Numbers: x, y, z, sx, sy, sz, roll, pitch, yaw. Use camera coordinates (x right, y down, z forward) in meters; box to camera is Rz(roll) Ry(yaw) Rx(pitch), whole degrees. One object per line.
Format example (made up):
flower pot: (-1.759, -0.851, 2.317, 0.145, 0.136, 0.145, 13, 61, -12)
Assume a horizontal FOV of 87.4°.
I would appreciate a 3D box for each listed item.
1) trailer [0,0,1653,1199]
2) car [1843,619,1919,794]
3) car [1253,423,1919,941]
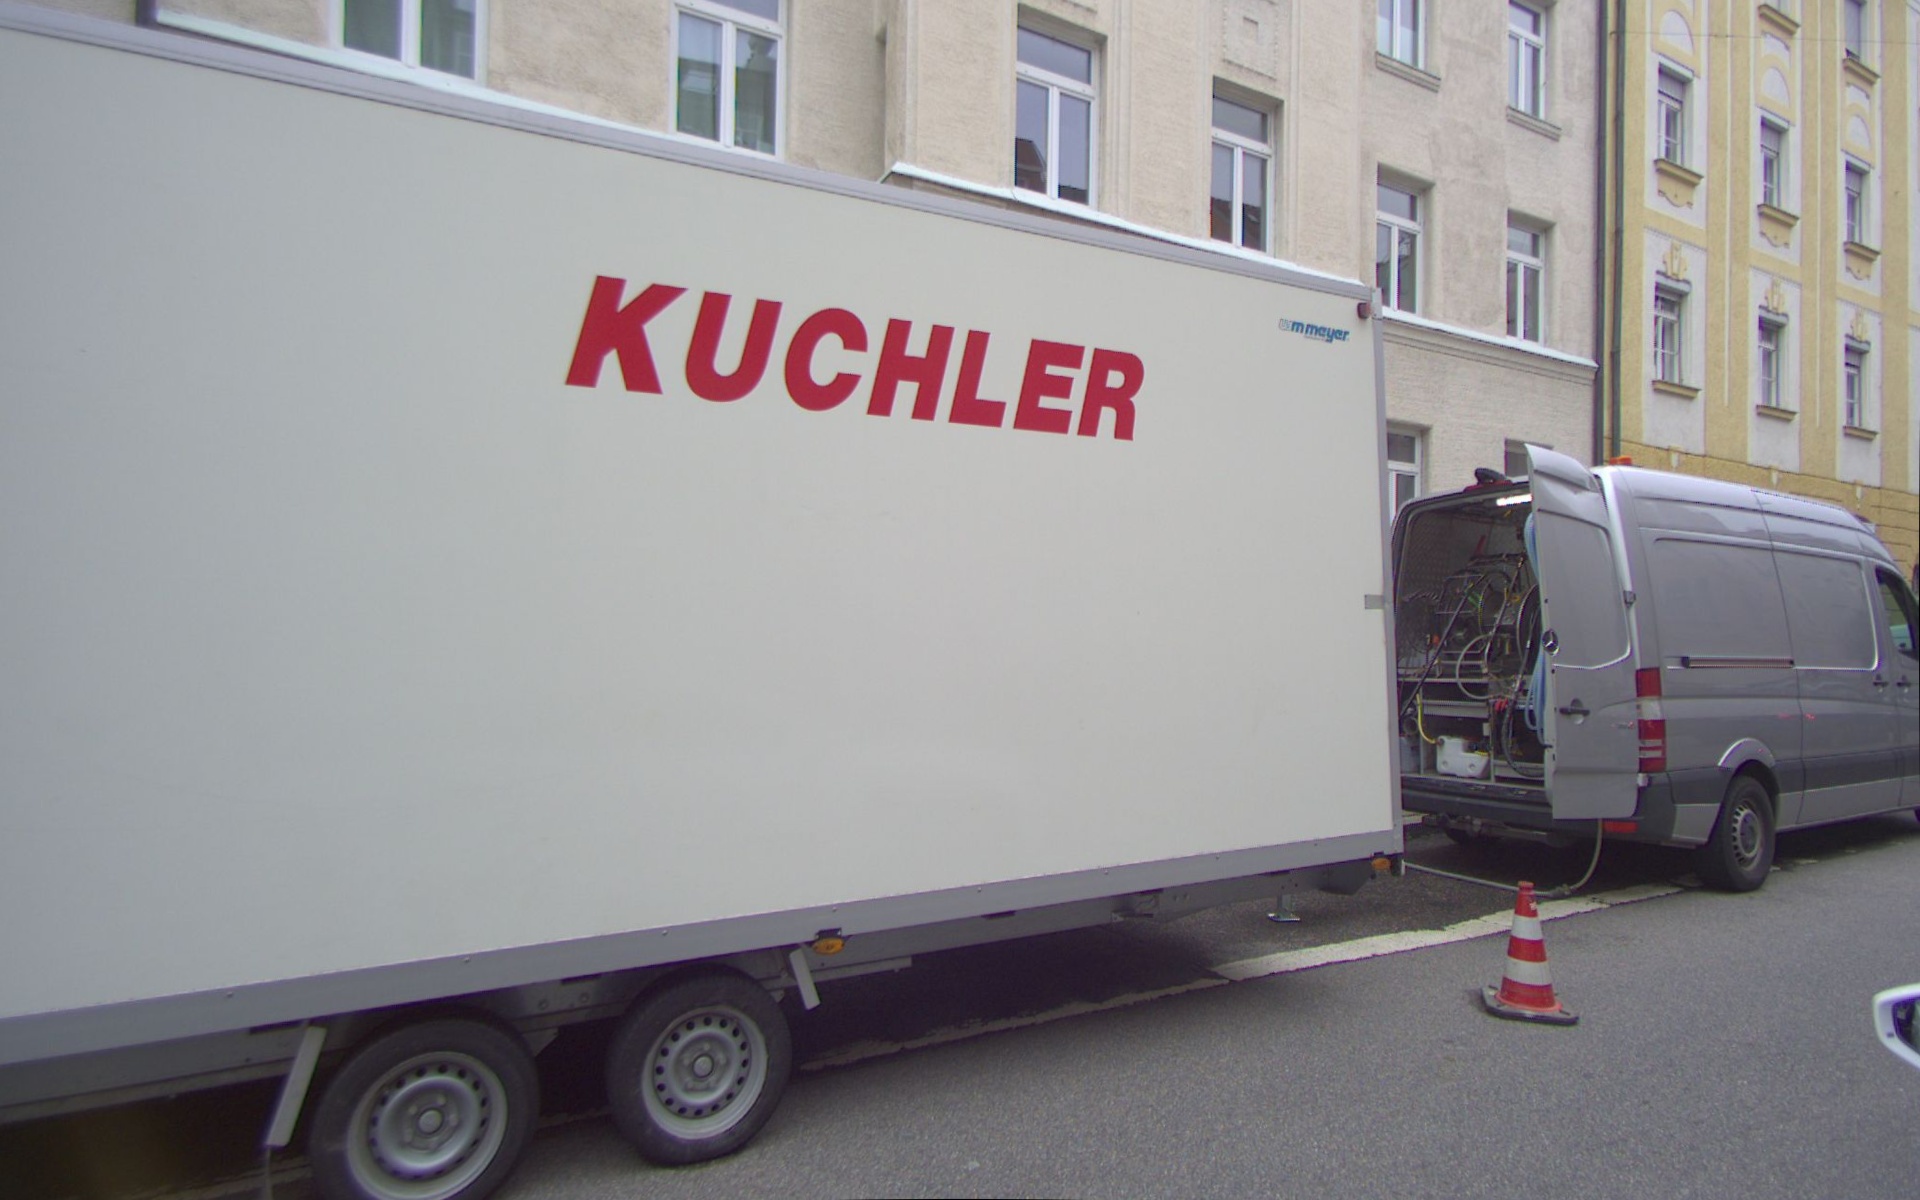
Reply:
trailer: (-0.958, 0.140, 4.058, 7.499, 3.007, 2.796, 1, -4, -26)
car: (11.940, 1.144, 11.154, 4.272, 1.802, 1.757, 2, -3, -28)
car: (5.515, 0.569, 7.646, 6.793, 2.620, 2.048, 2, -6, -29)
